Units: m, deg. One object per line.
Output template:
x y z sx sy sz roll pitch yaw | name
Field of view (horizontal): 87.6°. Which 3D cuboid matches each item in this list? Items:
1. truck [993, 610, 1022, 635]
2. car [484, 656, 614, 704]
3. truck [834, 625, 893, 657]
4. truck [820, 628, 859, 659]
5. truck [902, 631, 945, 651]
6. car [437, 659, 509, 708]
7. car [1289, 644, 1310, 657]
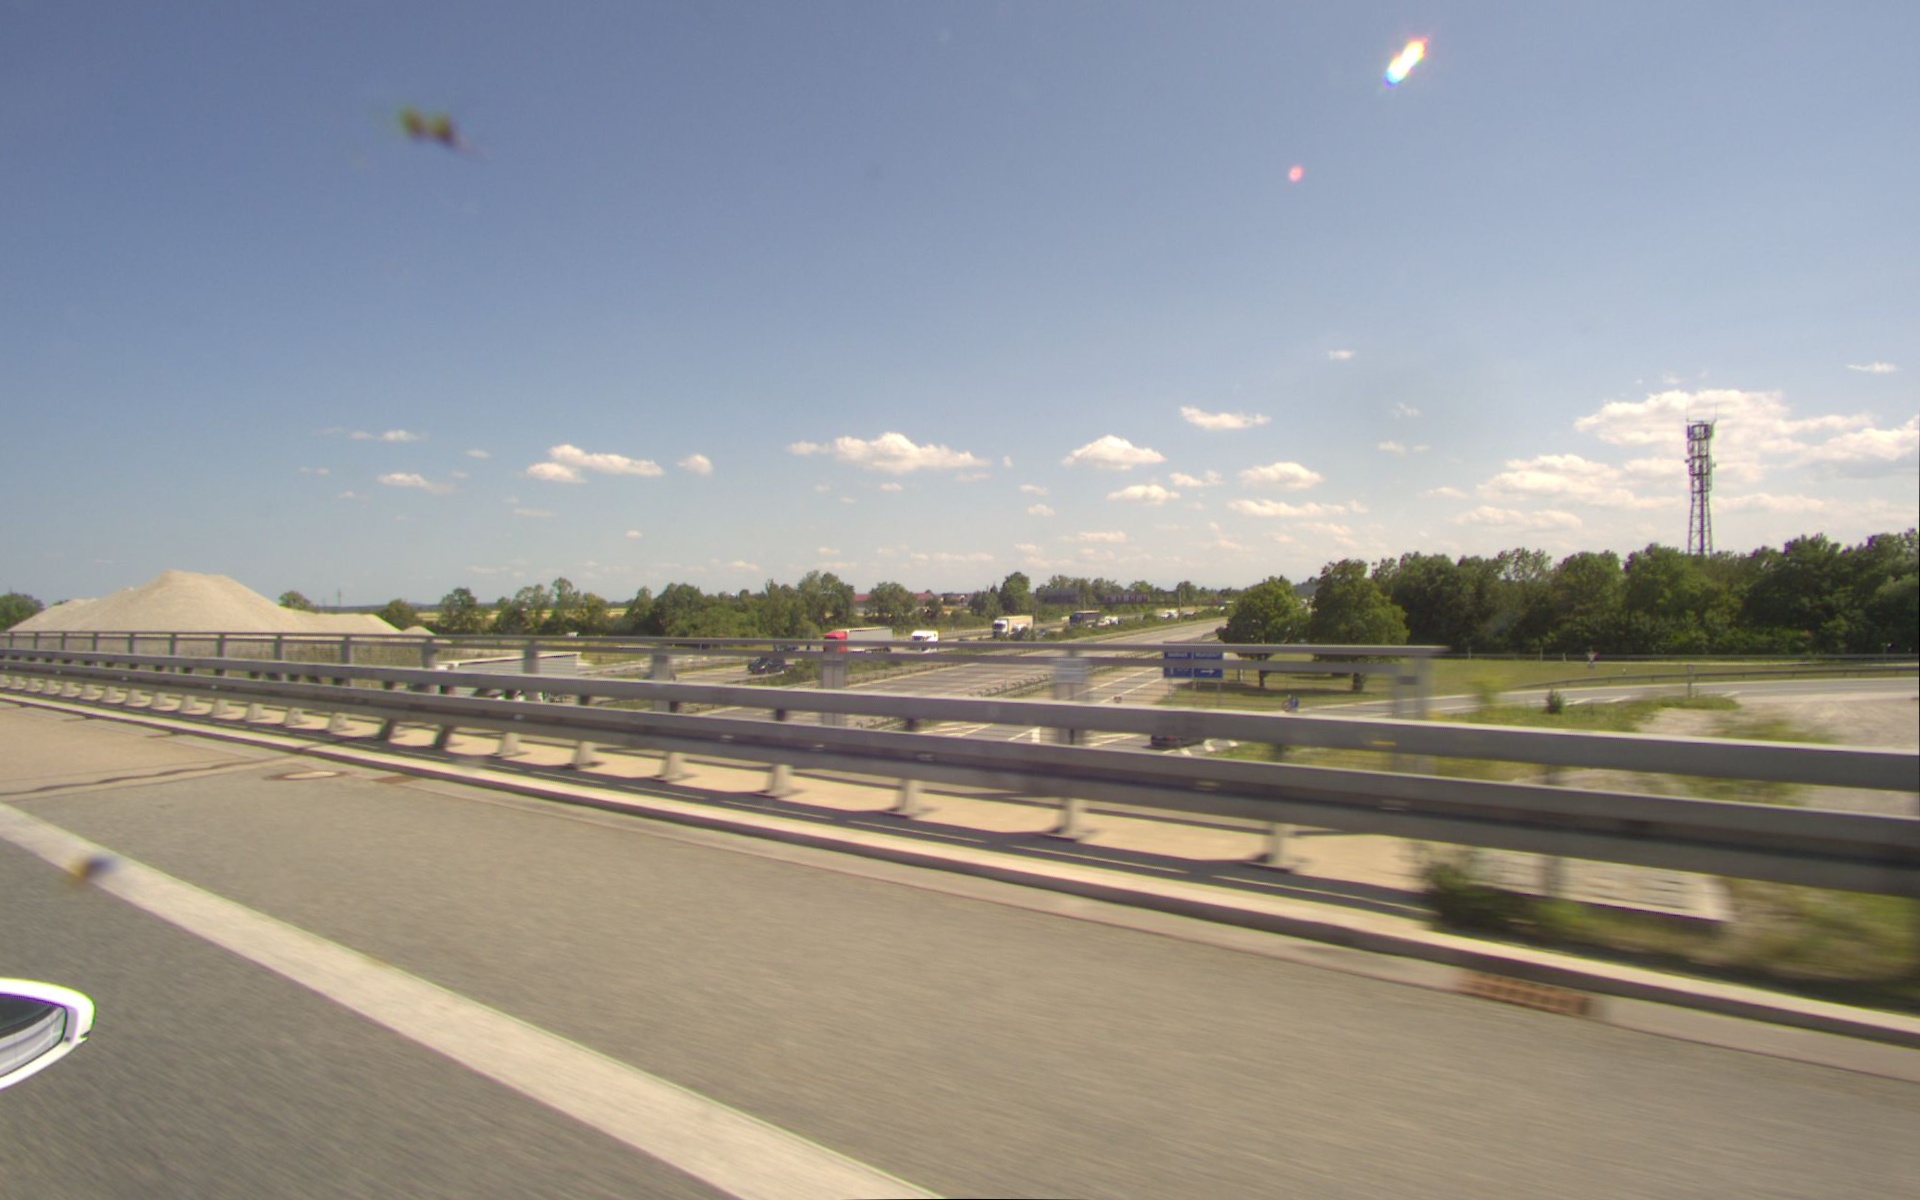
9.566 4.462 201.062 3.099 4.836 8.222 -1 -1 23 | truck
-38.276 7.380 94.084 2.443 4.013 12.974 -1 -2 26 | car
-14.286 6.109 150.349 2.823 4.119 12.534 -1 1 25 | truck
-17.225 6.190 144.023 2.823 4.119 5.936 -1 1 25 | truck
-6.096 6.834 169.377 3.100 3.099 10.018 -1 -1 25 | truck
-41.963 7.115 86.365 2.443 4.014 5.144 -1 -2 26 | car
54.747 8.161 161.674 1.961 1.792 4.005 1 -5 -1 | car
